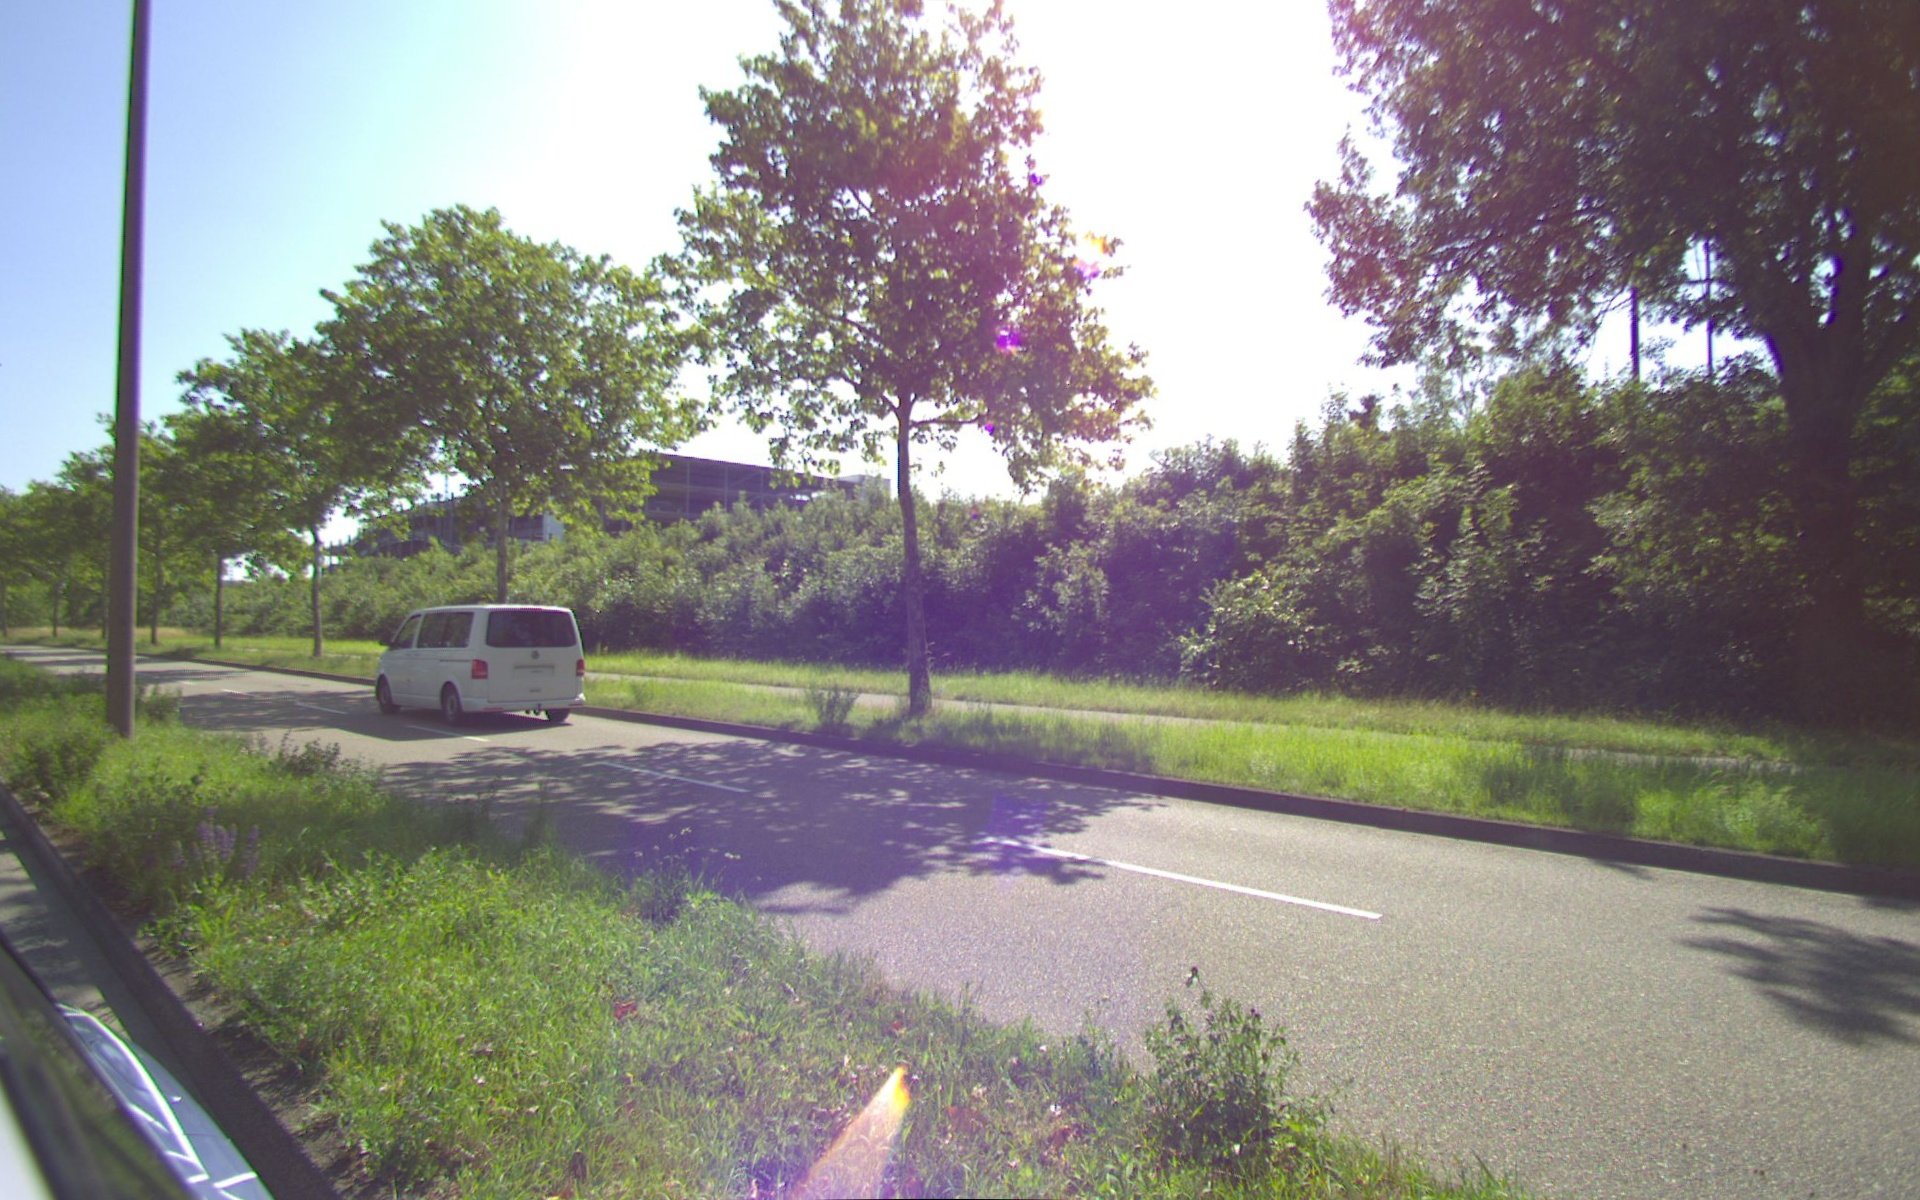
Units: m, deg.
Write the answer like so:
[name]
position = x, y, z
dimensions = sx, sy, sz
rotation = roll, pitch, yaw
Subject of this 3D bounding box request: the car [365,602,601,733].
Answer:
[car]
position = -8.116, 1.074, 17.016
dimensions = 4.574, 1.912, 1.972
rotation = -1, -4, 43
